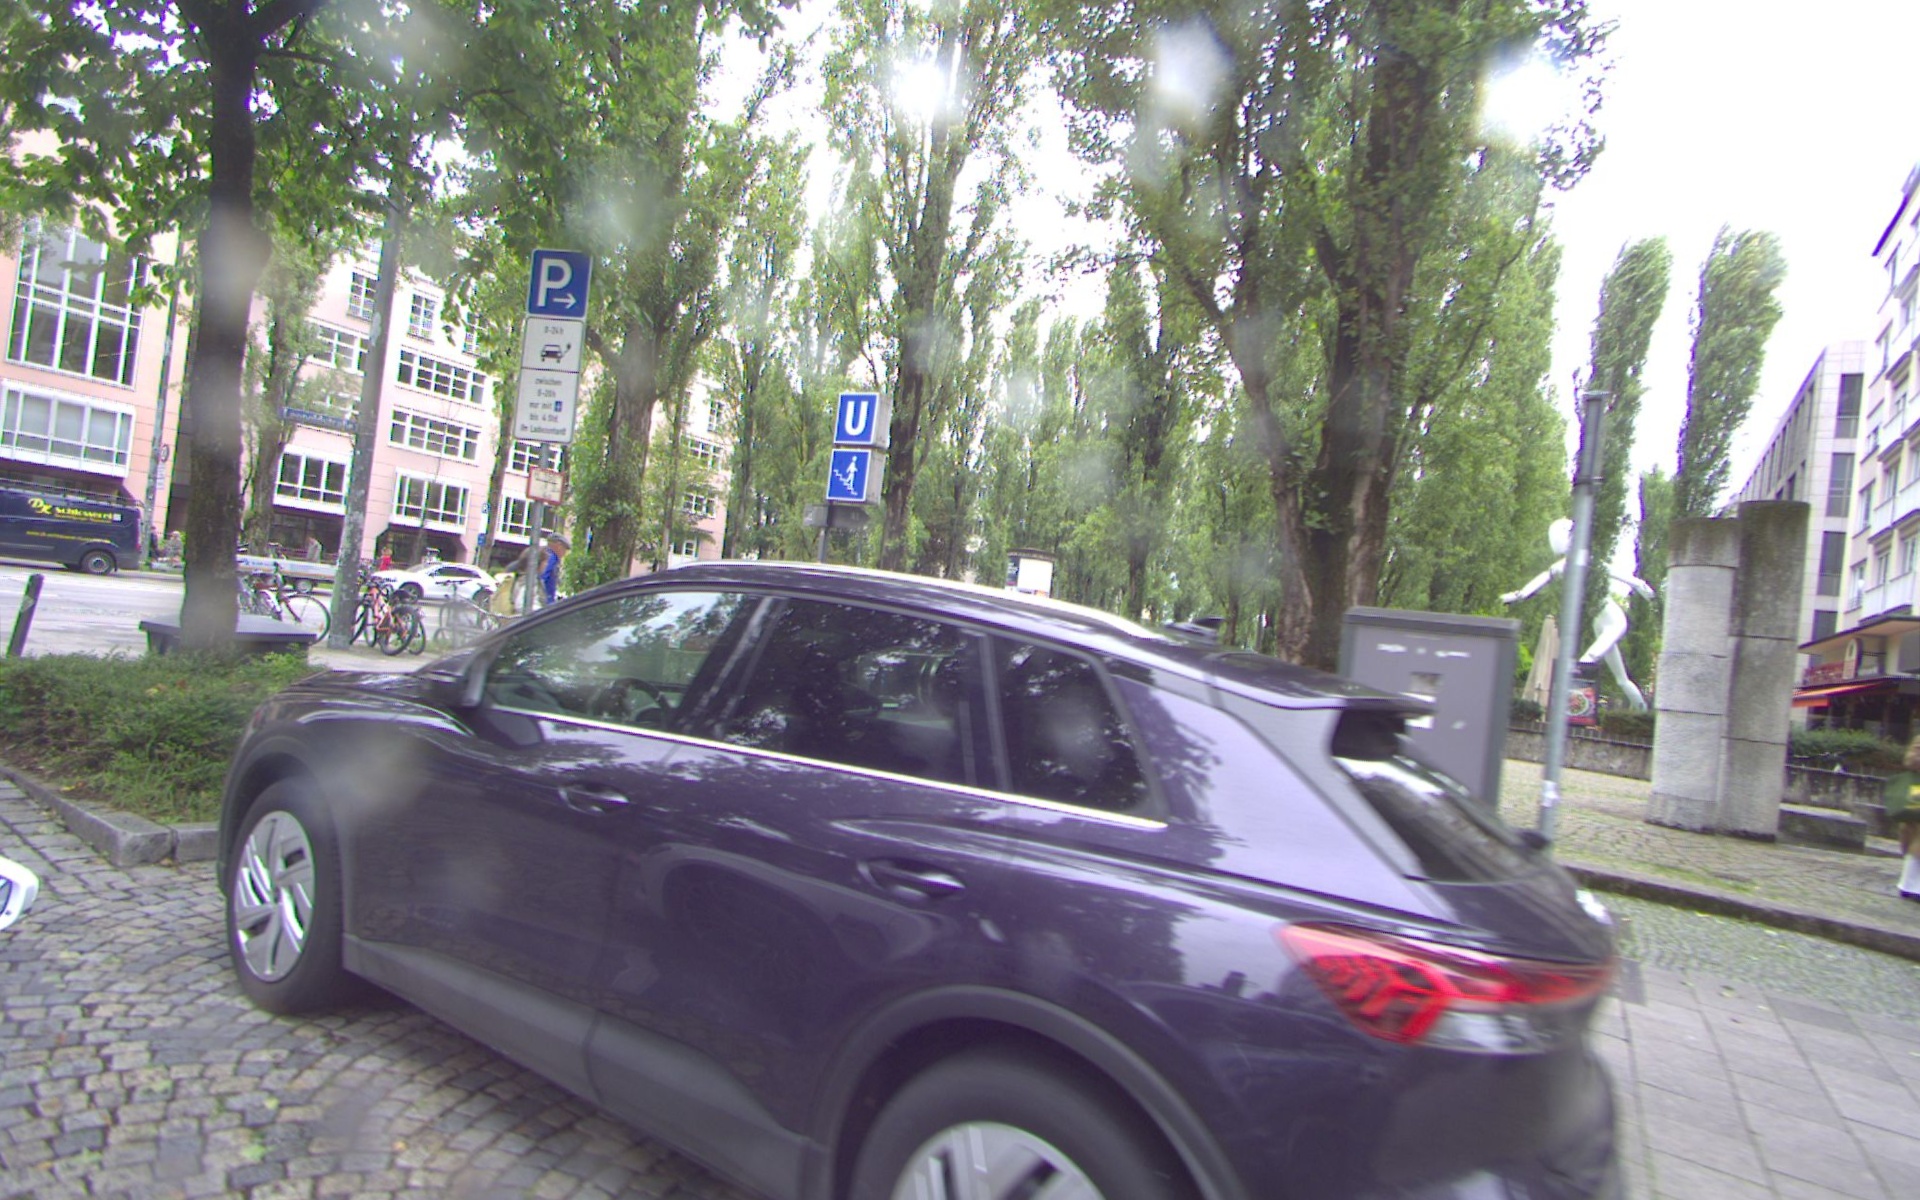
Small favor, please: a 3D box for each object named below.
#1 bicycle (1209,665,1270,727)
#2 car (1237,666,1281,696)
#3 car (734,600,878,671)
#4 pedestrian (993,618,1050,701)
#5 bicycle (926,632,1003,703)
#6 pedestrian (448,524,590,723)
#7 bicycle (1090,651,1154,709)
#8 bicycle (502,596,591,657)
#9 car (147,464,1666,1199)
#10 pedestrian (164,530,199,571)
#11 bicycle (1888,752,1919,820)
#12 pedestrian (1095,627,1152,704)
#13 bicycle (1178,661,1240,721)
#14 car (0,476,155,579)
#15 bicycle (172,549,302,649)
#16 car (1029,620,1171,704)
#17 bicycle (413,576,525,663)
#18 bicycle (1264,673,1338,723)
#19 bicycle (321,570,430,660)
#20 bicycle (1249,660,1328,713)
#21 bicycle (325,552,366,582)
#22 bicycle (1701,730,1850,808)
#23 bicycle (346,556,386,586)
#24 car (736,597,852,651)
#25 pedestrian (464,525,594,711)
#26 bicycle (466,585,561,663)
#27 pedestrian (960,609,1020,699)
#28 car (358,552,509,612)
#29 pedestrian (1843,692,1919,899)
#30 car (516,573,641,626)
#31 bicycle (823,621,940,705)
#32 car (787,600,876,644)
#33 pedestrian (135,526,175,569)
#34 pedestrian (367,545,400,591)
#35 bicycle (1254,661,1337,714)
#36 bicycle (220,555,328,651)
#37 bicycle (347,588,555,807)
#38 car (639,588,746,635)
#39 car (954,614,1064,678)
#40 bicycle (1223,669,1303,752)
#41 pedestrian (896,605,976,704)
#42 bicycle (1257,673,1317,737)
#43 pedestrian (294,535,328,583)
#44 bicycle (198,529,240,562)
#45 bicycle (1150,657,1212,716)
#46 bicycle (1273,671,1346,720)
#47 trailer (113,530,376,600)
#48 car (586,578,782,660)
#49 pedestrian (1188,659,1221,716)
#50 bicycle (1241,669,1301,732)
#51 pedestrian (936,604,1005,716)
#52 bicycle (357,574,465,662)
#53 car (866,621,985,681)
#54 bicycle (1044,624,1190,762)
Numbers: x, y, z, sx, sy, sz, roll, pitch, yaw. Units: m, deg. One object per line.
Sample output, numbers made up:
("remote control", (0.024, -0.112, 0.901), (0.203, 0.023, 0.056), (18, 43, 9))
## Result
("bicycle", (5.917, 2.043, 21.250), (0.578, 1.173, 1.865), (7, -2, 34))
("car", (20.024, 5.457, 67.301), (1.719, 1.662, 3.946), (8, -1, 31))
("car", (-4.334, 1.065, 28.829), (1.720, 1.545, 3.900), (8, -1, 34))
("pedestrian", (1.302, 1.263, 21.250), (0.688, 1.625, 0.831), (7, -1, 38))
("bicycle", (0.119, 1.245, 18.406), (0.577, 1.173, 1.869), (7, -1, 24))
("pedestrian", (-4.020, 0.224, 9.186), (0.602, 1.700, 0.842), (7, 0, 42))
("bicycle", (3.654, 1.803, 22.504), (0.578, 1.173, 1.865), (7, -2, 34))
("bicycle", (-6.895, 0.425, 16.741), (1.806, 0.827, 0.470), (5, -1, 38))
("car", (-0.447, 0.687, 3.229), (4.131, 1.720, 1.925), (7, -2, 31))
("pedestrian", (-28.766, -1.827, 37.163), (0.698, 1.385, 0.730), (7, -1, 34))
("bicycle", (18.358, 3.520, 18.141), (2.209, 1.169, 0.647), (7, -1, 33))
("pedestrian", (4.326, 1.736, 26.534), (0.905, 1.888, 1.011), (7, -1, 38))
("bicycle", (5.372, 1.968, 21.625), (0.578, 1.173, 1.865), (7, -2, 34))
("car", (-24.452, -2.026, 25.781), (1.991, 2.223, 5.487), (7, -2, 33))
("bicycle", (-9.150, -0.022, 12.716), (1.844, 1.063, 0.475), (6, -1, 28))
("car", (4.175, 1.872, 29.176), (1.786, 1.918, 5.193), (7, -2, 34))
("bicycle", (-7.478, 0.280, 15.292), (1.899, 1.118, 0.512), (6, -1, 33))
("bicycle", (9.922, 2.854, 29.279), (1.840, 1.173, 0.586), (6, -1, 35))
("bicycle", (-8.085, 0.191, 13.887), (1.847, 1.063, 0.475), (5, -1, 35))
("bicycle", (8.969, 2.363, 27.521), (1.840, 1.173, 0.586), (6, -1, 35))
("bicycle", (-27.714, -1.501, 45.336), (2.073, 1.138, 0.674), (7, 0, 34))
("bicycle", (16.768, 3.455, 20.763), (2.209, 1.169, 0.647), (7, -1, 33))
("bicycle", (-27.051, -1.306, 45.818), (1.957, 1.138, 0.674), (7, 0, 34))
("car", (-6.922, 1.068, 42.364), (1.968, 1.742, 4.806), (5, -2, 33))
("pedestrian", (-4.243, 0.183, 9.906), (0.655, 1.716, 0.802), (7, 0, 42))
("bicycle", (-7.141, 0.374, 16.053), (1.806, 1.050, 0.511), (6, -1, 38))
("pedestrian", (0.655, 1.171, 21.769), (0.739, 1.824, 0.840), (7, -1, 38))
("car", (-18.225, -0.592, 35.004), (1.778, 1.560, 4.224), (5, -2, 35))
("pedestrian", (8.130, 1.649, 8.401), (0.708, 1.626, 0.708), (7, 0, -6))
("car", (-15.299, 0.031, 40.523), (1.966, 1.560, 4.319), (7, -2, 30))
("bicycle", (-1.249, 1.049, 16.379), (0.580, 1.173, 1.859), (7, -2, 44))
("car", (-6.830, 1.214, 53.944), (1.967, 1.818, 4.753), (7, -2, 32))
("pedestrian", (-29.167, -1.899, 36.443), (0.718, 1.385, 0.710), (7, -1, 4))
("pedestrian", (-23.357, -1.304, 40.760), (0.698, 1.734, 0.730), (7, -1, 34))
("bicycle", (9.331, 2.428, 28.058), (2.000, 1.173, 0.586), (6, -1, 35))
("bicycle", (-9.251, 0.022, 13.540), (1.846, 1.063, 0.475), (7, 0, 35))
("bicycle", (-3.420, 0.587, 6.669), (1.850, 1.150, 0.474), (6, -1, 42))
("car", (-12.010, 0.531, 45.380), (1.968, 1.560, 4.316), (7, -2, 34))
("car", (1.993, 1.843, 38.949), (1.885, 1.947, 5.033), (8, -1, 31))
("bicycle", (4.792, 1.739, 15.848), (0.578, 1.173, 1.865), (7, -2, 34))
("pedestrian", (-0.381, 0.858, 15.833), (0.765, 1.436, 0.809), (7, 0, -42))
("bicycle", (6.725, 2.157, 20.611), (0.578, 1.173, 1.865), (7, -2, 34))
("pedestrian", (-25.451, -1.615, 39.443), (0.698, 1.734, 0.730), (7, -1, 34))
("bicycle", (-30.379, -2.236, 41.255), (1.957, 1.138, 0.674), (7, 0, 34))
("bicycle", (4.855, 1.910, 21.995), (0.578, 1.173, 1.865), (7, -2, 34))
("bicycle", (10.345, 2.825, 29.802), (1.840, 1.173, 0.586), (7, -1, 35))
("trailer", (-21.535, -1.007, 30.606), (2.366, 1.213, 6.026), (7, -2, 34))
("car", (-6.709, 0.520, 24.878), (1.729, 1.444, 4.436), (8, -1, 36))
("pedestrian", (8.499, 3.044, 34.957), (0.689, 1.863, 0.704), (7, 0, 36))
("bicycle", (6.464, 2.097, 20.858), (0.578, 1.173, 1.865), (7, -2, 34))
("pedestrian", (0.170, 0.989, 16.480), (0.686, 1.721, 0.656), (7, 0, -42))
("bicycle", (-7.824, 0.243, 14.297), (1.847, 1.063, 0.475), (5, -1, 35))
("car", (-1.056, 1.736, 33.418), (1.720, 1.545, 4.228), (8, -1, 32))
("bicycle", (1.736, 1.016, 10.871), (0.710, 1.291, 1.865), (7, -1, 34))
